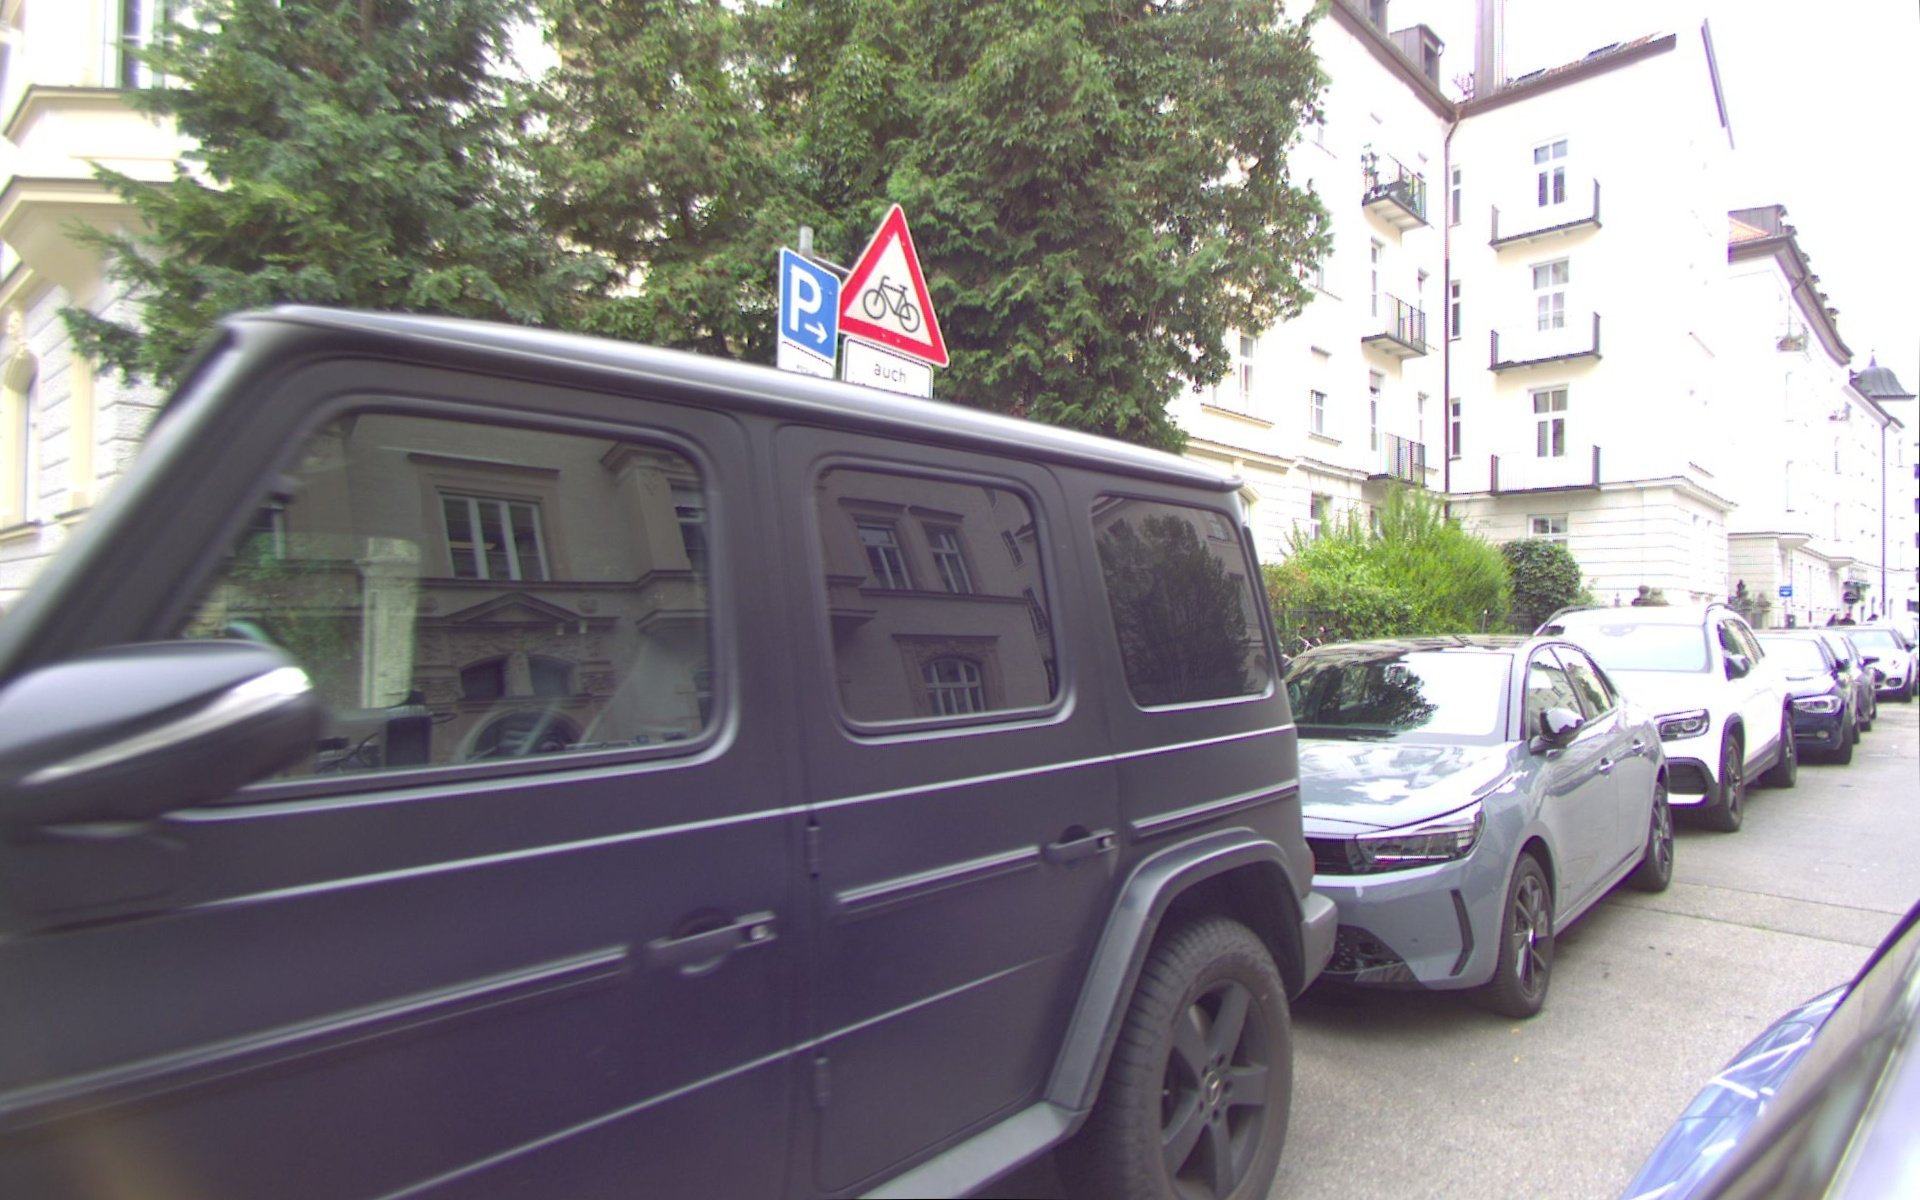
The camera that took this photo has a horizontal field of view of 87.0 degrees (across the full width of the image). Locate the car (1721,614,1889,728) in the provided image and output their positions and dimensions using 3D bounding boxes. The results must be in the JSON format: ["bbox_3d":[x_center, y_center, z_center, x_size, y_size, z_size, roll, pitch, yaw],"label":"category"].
[{"bbox_3d":[13.052,1.005,15.553,1.684,1.524,3.953,-2,-2,44],"label":"car"}]

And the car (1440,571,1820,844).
[{"bbox_3d":[5.968,0.767,8.783,4.338,1.792,1.724,1,-4,-43],"label":"car"}]

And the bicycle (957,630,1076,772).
[{"bbox_3d":[0.522,0.834,8.851,0.510,1.108,1.340,0,-1,28],"label":"bicycle"}]

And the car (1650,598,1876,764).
[{"bbox_3d":[9.789,0.895,12.206,1.749,1.632,4.354,-3,-4,43],"label":"car"}]

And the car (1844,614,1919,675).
[{"bbox_3d":[26.158,1.237,28.090,4.323,1.590,1.824,2,-4,-41],"label":"car"}]

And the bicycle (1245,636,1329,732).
[{"bbox_3d":[4.103,1.019,12.662,0.454,1.112,1.292,0,-1,45],"label":"bicycle"}]

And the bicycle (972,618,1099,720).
[{"bbox_3d":[0.917,0.834,12.663,0.481,1.198,1.700,2,-3,-44],"label":"bicycle"}]

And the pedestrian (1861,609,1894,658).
[{"bbox_3d":[34.756,1.255,38.340,0.883,1.809,1.093,0,-1,44],"label":"pedestrian"}]

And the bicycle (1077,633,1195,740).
[{"bbox_3d":[1.992,0.952,11.537,0.448,1.112,1.310,2,-1,-44],"label":"bicycle"}]

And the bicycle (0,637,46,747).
[{"bbox_3d":[-10.967,0.999,11.485,2.402,1.119,0.530,-1,-2,40],"label":"bicycle"}]

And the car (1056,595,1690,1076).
[{"bbox_3d":[2.299,0.815,5.161,1.723,1.538,3.572,-4,-4,45],"label":"car"}]

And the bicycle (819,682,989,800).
[{"bbox_3d":[-0.427,1.088,8.099,1.331,0.791,0.513,2,-2,-43],"label":"bicycle"}]

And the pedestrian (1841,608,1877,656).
[{"bbox_3d":[35.132,1.256,39.554,1.091,1.835,0.885,1,-1,-38],"label":"pedestrian"}]

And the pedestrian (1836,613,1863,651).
[{"bbox_3d":[43.848,1.555,49.897,1.092,1.837,0.884,2,-2,-42],"label":"pedestrian"}]

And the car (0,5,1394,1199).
[{"bbox_3d":[-0.994,0.475,2.217,4.587,1.980,1.952,3,-4,-44],"label":"car"}]

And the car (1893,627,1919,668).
[{"bbox_3d":[36.562,1.781,37.870,4.631,1.476,1.996,2,-2,-42],"label":"car"}]

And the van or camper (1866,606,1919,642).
[{"bbox_3d":[76.637,1.948,81.124,5.845,2.749,2.269,0,-4,41],"label":"van or camper"}]

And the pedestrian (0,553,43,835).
[{"bbox_3d":[-6.256,0.561,6.319,0.734,1.724,0.685,3,1,42],"label":"pedestrian"}]

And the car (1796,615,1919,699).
[{"bbox_3d":[18.306,1.092,20.379,3.996,1.524,1.785,2,-2,-44],"label":"car"}]

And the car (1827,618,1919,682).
[{"bbox_3d":[22.081,1.152,24.154,3.393,1.424,1.755,2,-2,-43],"label":"car"}]
